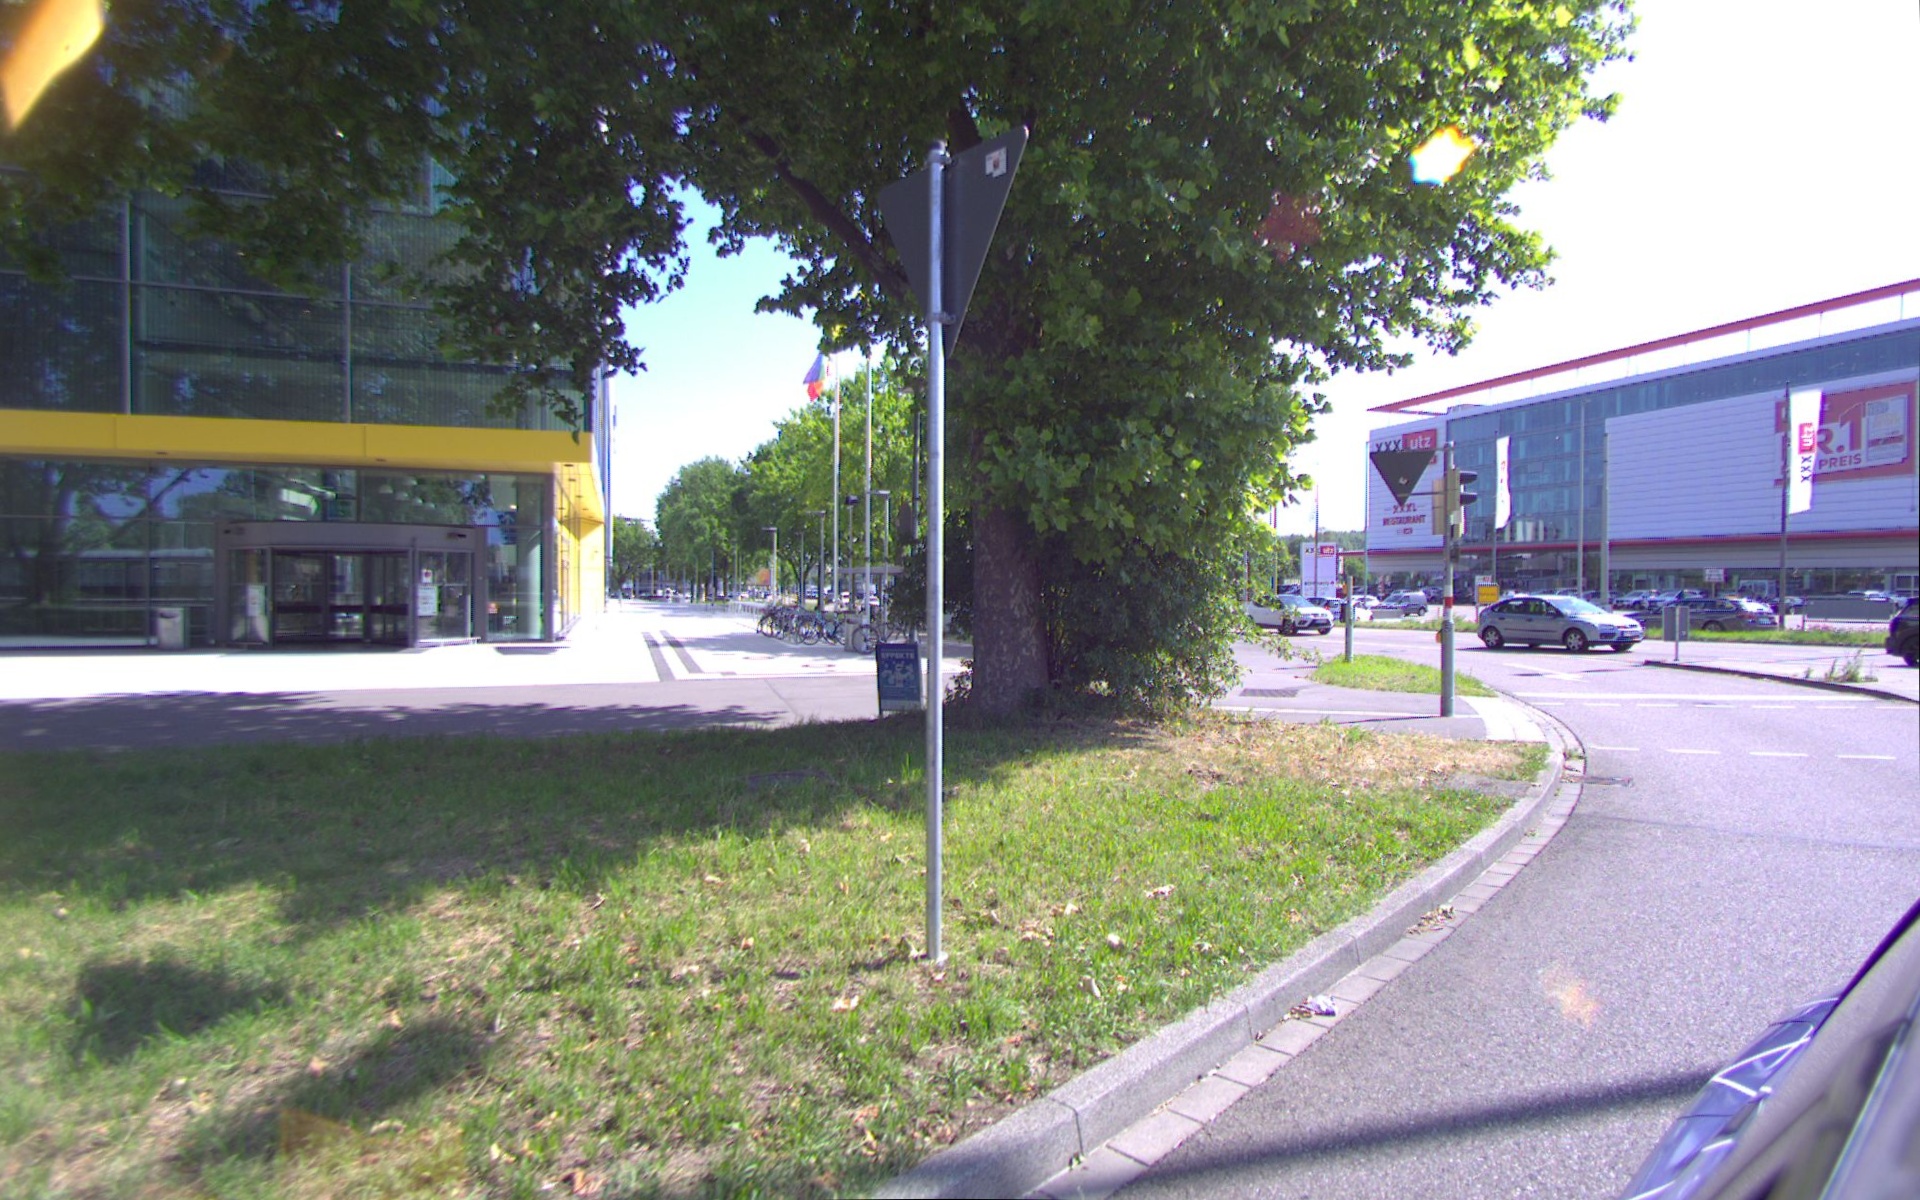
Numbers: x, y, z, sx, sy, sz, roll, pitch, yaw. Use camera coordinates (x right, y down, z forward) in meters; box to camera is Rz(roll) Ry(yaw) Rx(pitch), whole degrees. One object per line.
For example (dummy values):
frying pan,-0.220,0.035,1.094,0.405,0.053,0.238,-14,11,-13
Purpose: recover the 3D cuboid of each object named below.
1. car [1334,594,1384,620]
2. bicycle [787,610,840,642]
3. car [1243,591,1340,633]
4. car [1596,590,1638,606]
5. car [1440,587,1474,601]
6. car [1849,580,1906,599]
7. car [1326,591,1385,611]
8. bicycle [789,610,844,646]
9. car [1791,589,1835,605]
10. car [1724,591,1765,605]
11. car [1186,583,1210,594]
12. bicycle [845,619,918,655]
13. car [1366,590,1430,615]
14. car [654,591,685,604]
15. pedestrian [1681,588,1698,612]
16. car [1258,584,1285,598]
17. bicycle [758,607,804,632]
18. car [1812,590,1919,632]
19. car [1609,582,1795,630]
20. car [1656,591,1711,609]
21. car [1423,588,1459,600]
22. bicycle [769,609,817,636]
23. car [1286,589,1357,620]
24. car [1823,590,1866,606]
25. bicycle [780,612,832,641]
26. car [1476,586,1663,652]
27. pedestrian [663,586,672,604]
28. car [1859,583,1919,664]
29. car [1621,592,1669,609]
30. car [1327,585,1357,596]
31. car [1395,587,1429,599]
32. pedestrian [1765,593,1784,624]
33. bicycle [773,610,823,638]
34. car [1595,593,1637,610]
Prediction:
car,25.472,0.439,64.548,1.792,1.566,4.027,0,1,41
bicycle,-4.375,0.770,30.187,1.534,0.921,0.434,0,0,-15
car,12.704,0.495,39.034,1.602,1.517,3.876,-1,-1,-17
car,57.283,-0.183,88.207,3.032,1.346,1.519,-1,1,-18
car,51.430,-0.606,104.722,3.032,1.346,1.519,-1,1,-18
car,65.988,-0.780,72.813,3.032,1.346,1.783,-1,2,-18
car,32.618,0.082,83.481,4.334,1.648,1.875,0,0,-19
bicycle,-4.203,0.815,29.613,1.534,1.007,0.434,0,0,-15
car,73.351,-0.281,87.005,3.032,1.346,1.519,-1,1,-18
car,70.901,-0.176,91.484,3.032,1.240,1.519,-1,2,-18
car,32.410,-1.553,137.785,2.717,1.576,1.778,0,0,-18
bicycle,-1.997,0.929,25.715,1.796,0.854,0.434,0,0,-15
car,34.037,0.184,78.691,4.334,1.865,1.950,0,1,-18
car,-48.756,-0.421,169.673,4.895,2.032,1.745,0,2,-19
pedestrian,58.369,-0.007,80.925,0.838,1.881,0.753,1,-1,-17
car,41.932,-1.249,136.403,3.032,1.780,1.696,-1,1,-18
bicycle,-6.169,0.669,34.929,1.534,0.854,0.434,0,0,-15
car,23.820,0.265,26.214,1.097,1.017,2.497,0,0,-16
car,25.266,0.196,34.707,2.022,1.522,4.823,0,0,-19
car,59.462,-0.016,83.175,4.224,1.346,1.519,-1,1,-18
car,50.983,-0.621,107.294,3.436,1.213,1.484,-1,2,-18
bicycle,-5.514,0.748,33.360,1.534,0.854,0.434,0,0,-15
car,19.599,0.258,55.082,1.598,1.645,3.924,0,-1,-17
car,73.601,-0.199,84.223,3.032,1.282,1.369,-1,1,-18
bicycle,-4.787,0.816,31.430,1.534,0.854,0.434,0,0,-15
car,16.208,0.471,27.161,1.676,1.593,4.182,-1,0,-19
pedestrian,-26.596,-0.441,91.917,0.676,1.632,0.773,1,-1,-21
car,19.310,0.436,18.344,1.706,1.531,4.209,0,0,-18
car,57.617,0.034,85.113,3.343,1.347,1.592,0,-1,-19
car,46.620,-1.169,123.551,3.157,1.346,1.519,-1,1,-18
car,50.255,-0.773,112.532,3.032,1.346,1.708,-1,2,-18
pedestrian,50.936,0.530,63.323,0.772,1.919,0.496,1,-1,13
bicycle,-5.212,0.772,32.549,1.534,0.854,0.434,0,0,-15
car,57.089,0.111,88.104,3.032,1.346,1.519,-1,1,-18
